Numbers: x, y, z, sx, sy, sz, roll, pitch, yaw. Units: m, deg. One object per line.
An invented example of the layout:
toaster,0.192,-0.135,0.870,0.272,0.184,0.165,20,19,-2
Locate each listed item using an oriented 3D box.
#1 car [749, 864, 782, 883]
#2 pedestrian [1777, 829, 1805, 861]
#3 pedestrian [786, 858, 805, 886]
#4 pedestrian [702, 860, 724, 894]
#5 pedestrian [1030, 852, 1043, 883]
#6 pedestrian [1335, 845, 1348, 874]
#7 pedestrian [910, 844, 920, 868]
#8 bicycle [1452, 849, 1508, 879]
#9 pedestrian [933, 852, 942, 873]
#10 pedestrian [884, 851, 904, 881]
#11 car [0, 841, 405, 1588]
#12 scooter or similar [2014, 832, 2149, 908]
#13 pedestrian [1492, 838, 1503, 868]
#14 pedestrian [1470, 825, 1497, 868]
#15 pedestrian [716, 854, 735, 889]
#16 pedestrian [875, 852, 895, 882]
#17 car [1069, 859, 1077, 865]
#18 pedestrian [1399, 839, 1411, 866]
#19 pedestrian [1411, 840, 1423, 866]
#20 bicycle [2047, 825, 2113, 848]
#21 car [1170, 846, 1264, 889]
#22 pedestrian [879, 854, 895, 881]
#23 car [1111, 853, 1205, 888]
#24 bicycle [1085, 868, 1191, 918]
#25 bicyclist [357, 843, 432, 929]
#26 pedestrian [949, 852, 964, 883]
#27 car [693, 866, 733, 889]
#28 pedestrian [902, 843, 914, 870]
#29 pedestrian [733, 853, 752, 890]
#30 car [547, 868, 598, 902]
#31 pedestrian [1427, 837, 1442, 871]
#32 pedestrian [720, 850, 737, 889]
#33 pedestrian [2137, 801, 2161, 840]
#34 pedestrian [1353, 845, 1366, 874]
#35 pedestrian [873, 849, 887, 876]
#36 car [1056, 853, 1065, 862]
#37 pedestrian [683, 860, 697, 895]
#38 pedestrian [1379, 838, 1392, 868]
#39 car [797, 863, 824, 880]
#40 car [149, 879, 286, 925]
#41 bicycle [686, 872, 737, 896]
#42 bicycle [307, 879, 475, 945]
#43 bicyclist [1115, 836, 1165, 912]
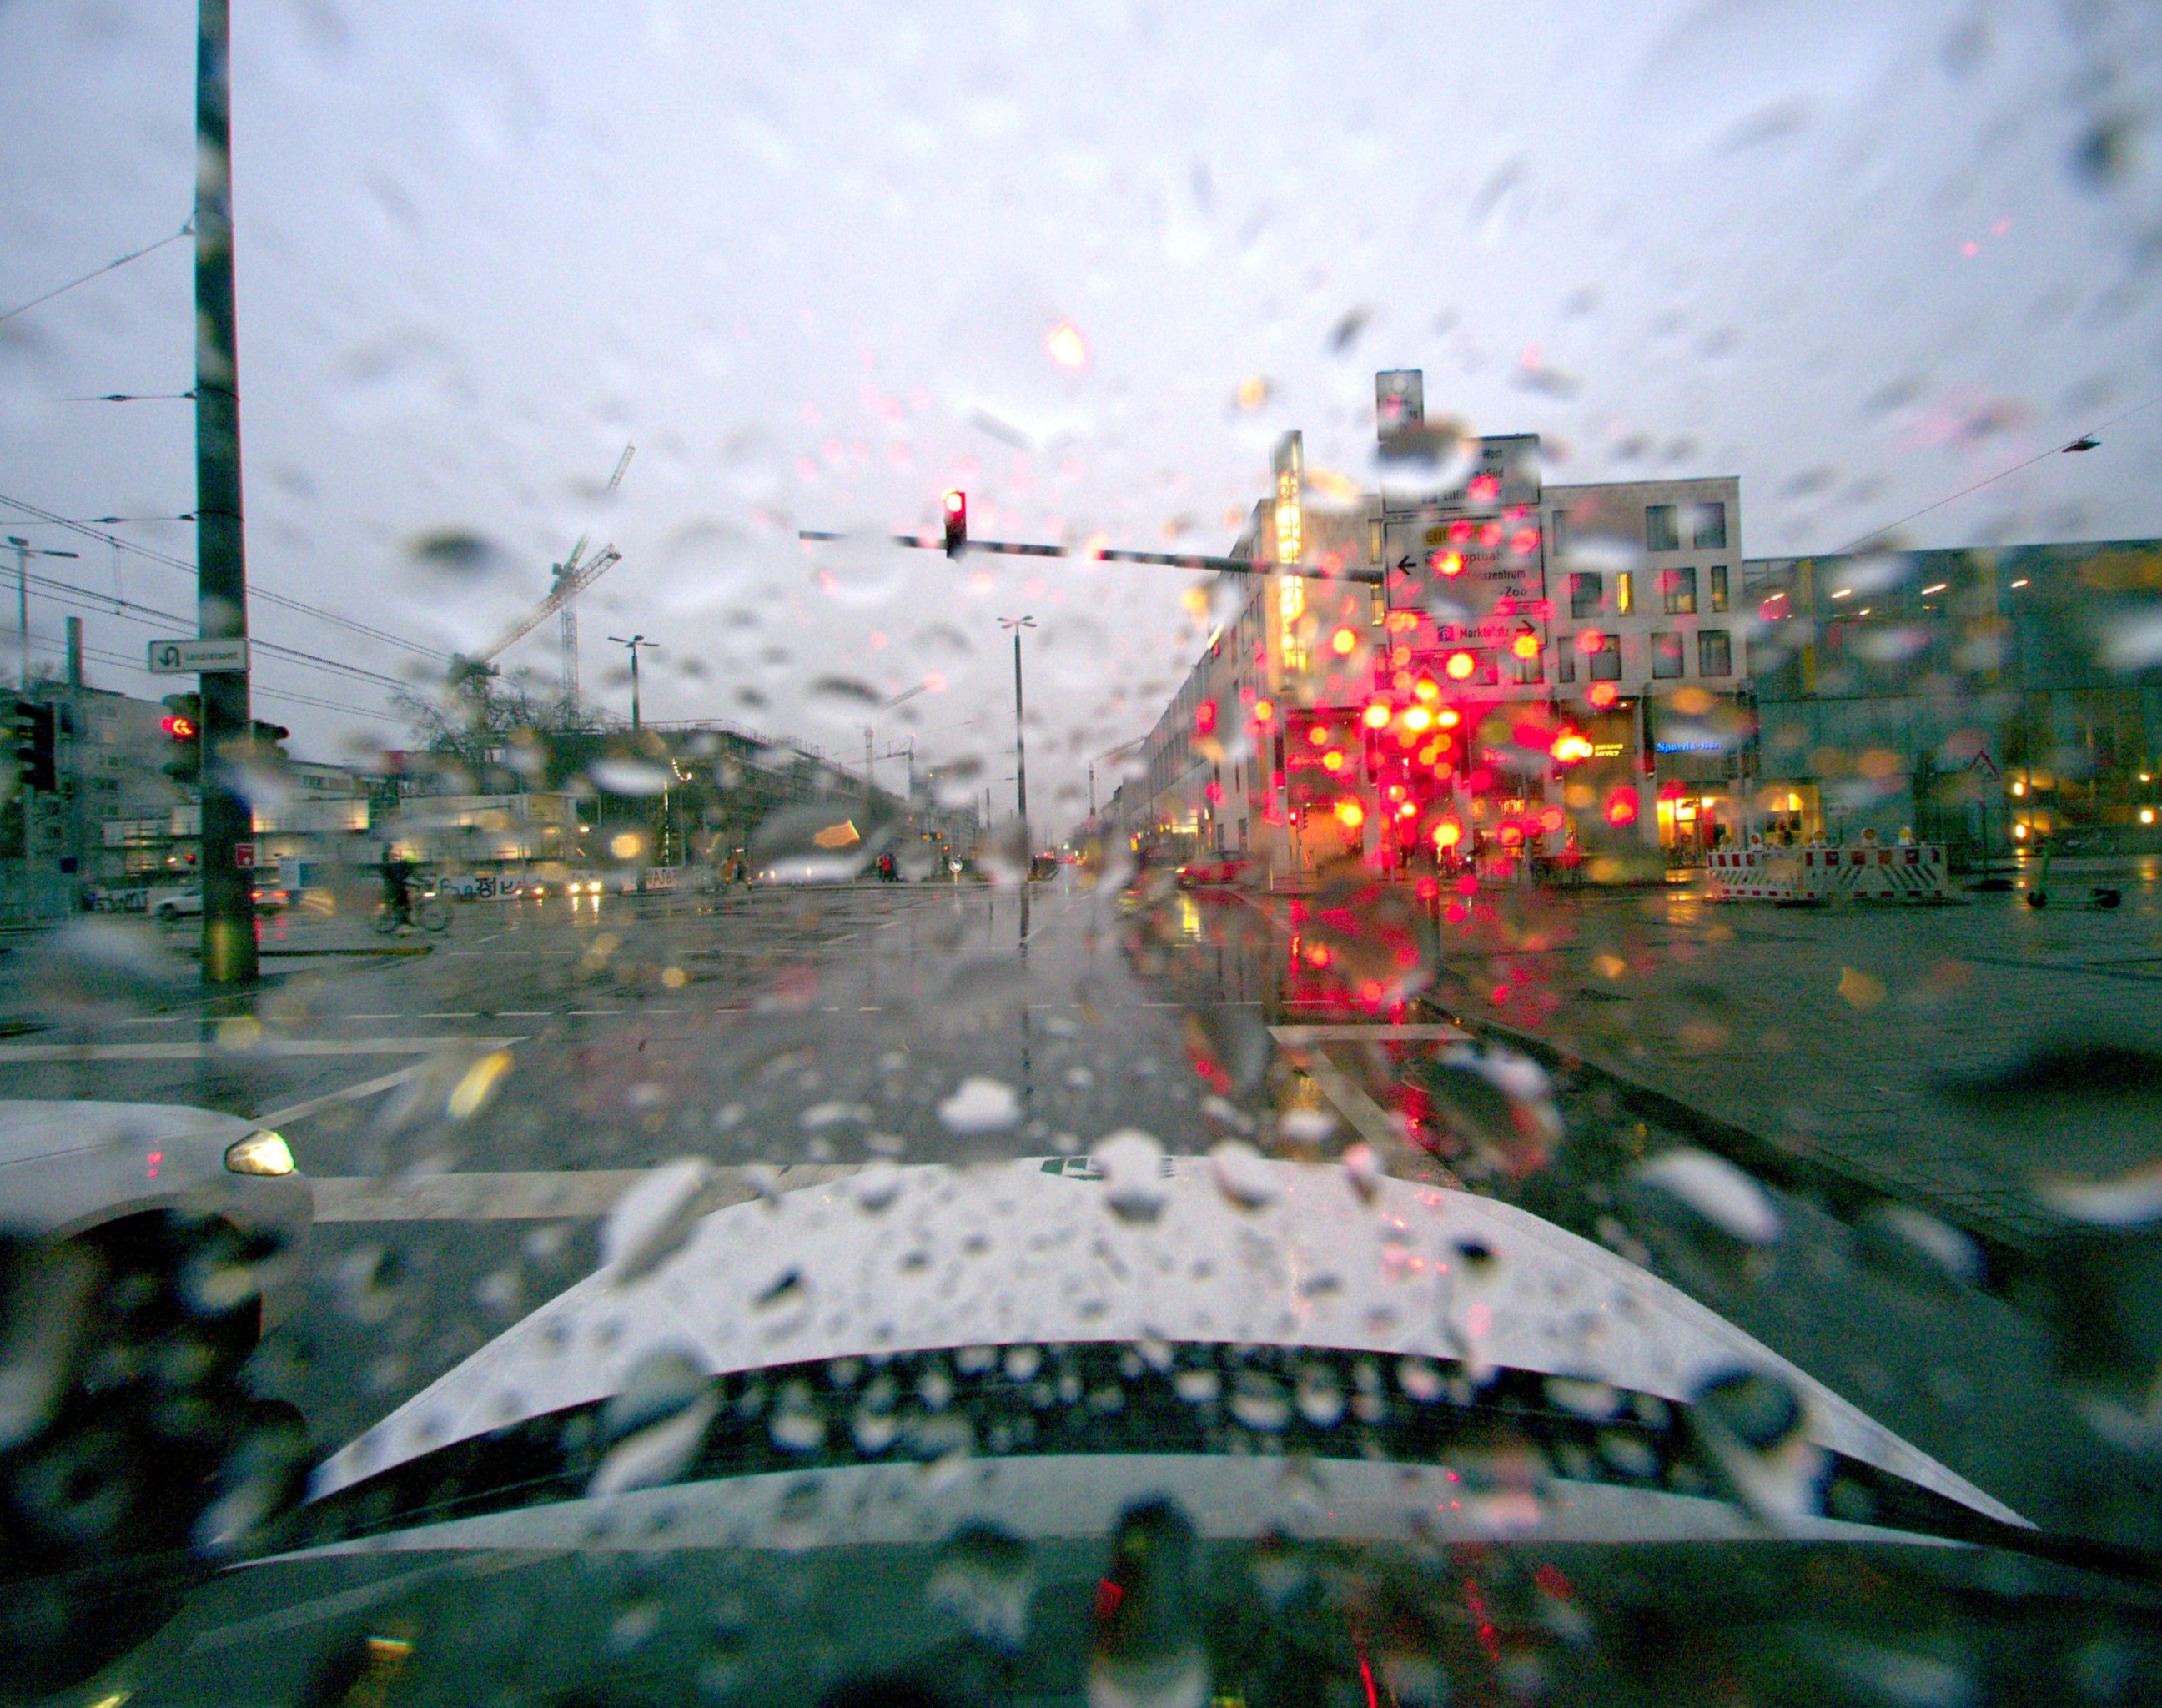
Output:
car,-35.623,2.175,92.144,1.986,2.013,4.002,-2,0,2
pedestrian,36.053,-0.454,41.362,0.791,1.631,0.709,-1,-1,1
pedestrian,-16.454,1.034,46.978,0.700,1.619,0.684,-2,-1,25
pedestrian,-17.502,1.075,38.727,0.814,1.570,0.535,-2,-2,-8
pedestrian,-2.616,0.775,47.928,0.631,1.772,0.484,-2,-1,0
pedestrian,15.963,0.338,49.897,0.530,1.718,0.505,-3,-1,39
pedestrian,-12.307,0.151,60.495,0.660,1.746,0.733,-2,-1,-9
bicycle,15.385,0.389,31.421,1.831,1.093,0.620,-2,-1,16
pedestrian,-12.242,0.719,69.305,0.660,1.746,0.619,-2,-1,-9
pedestrian,-10.804,0.706,47.123,0.835,1.688,0.681,-2,-1,31
car,-3.191,0.761,0.172,1.903,1.520,4.923,-2,0,0
scooter or similar,15.823,0.239,12.918,0.603,1.130,1.236,-2,0,2
pedestrian,25.109,-0.062,49.123,0.508,1.760,0.376,-2,-1,18
pedestrian,15.514,-0.277,31.380,0.775,1.595,0.616,-2,-1,17
pedestrian,-20.791,1.004,47.595,0.792,2.013,0.745,-2,-1,-9
pedestrian,-11.199,0.726,46.537,0.823,1.679,0.623,-2,-1,33
car,-2.266,2.253,231.376,1.881,1.783,3.715,-1,-1,2
pedestrian,20.948,-0.091,52.574,0.530,1.718,0.505,-3,-1,39
pedestrian,22.368,-0.084,54.220,0.530,1.718,0.505,-3,-1,39
bicycle,48.580,-0.840,39.637,0.613,1.033,2.138,-2,0,3
car,5.551,0.543,33.504,3.558,1.582,1.676,-2,-1,-1
pedestrian,-11.966,0.848,50.207,0.700,1.619,0.617,-3,-1,45
car,3.701,0.820,39.774,1.806,1.574,4.496,-2,0,-42
bicycle,1.301,0.897,18.868,2.366,1.033,0.617,-2,-1,-2
bicyclist,-15.000,0.691,17.820,0.993,1.839,0.719,0,-1,-8
pedestrian,-7.335,0.790,47.935,0.700,1.760,0.652,-2,-1,1
car,-34.767,2.155,77.035,1.988,2.013,3.997,-2,0,-2
pedestrian,-11.633,0.163,54.725,0.617,1.746,0.612,-2,-1,-4
pedestrian,-18.781,0.944,45.157,0.781,2.013,0.606,-2,-1,-37
car,-33.065,1.984,53.063,1.760,2.013,3.977,-2,0,-17
pedestrian,18.076,0.006,41.674,0.530,1.685,0.552,-3,-1,39
pedestrian,-19.213,0.862,44.381,0.691,2.087,0.606,-2,-1,-39
pedestrian,57.222,-1.791,43.232,0.901,2.014,1.023,-1,-1,1
pedestrian,17.010,0.325,49.770,0.530,1.718,0.505,-3,-1,39
pedestrian,-13.285,0.562,53.794,0.613,1.746,0.617,-2,-1,36
car,-4.943,0.878,198.131,1.986,2.014,4.001,-1,-1,2
pedestrian,-22.987,1.376,47.848,0.507,2.013,0.638,-2,0,-9
pedestrian,18.123,-0.062,48.439,0.530,1.718,0.505,-3,-1,39
car,-34.107,2.184,102.760,1.986,2.013,4.002,-2,0,2
car,-38.026,2.096,35.906,4.285,1.761,1.708,-2,0,3
bicycle,-17.539,1.430,38.711,2.127,0.991,0.540,-2,-5,-9
bicycle,-15.000,1.246,17.772,2.829,1.362,0.719,0,-1,-8
bicyclist,1.360,0.459,18.882,1.030,1.697,0.617,-2,-1,-2
